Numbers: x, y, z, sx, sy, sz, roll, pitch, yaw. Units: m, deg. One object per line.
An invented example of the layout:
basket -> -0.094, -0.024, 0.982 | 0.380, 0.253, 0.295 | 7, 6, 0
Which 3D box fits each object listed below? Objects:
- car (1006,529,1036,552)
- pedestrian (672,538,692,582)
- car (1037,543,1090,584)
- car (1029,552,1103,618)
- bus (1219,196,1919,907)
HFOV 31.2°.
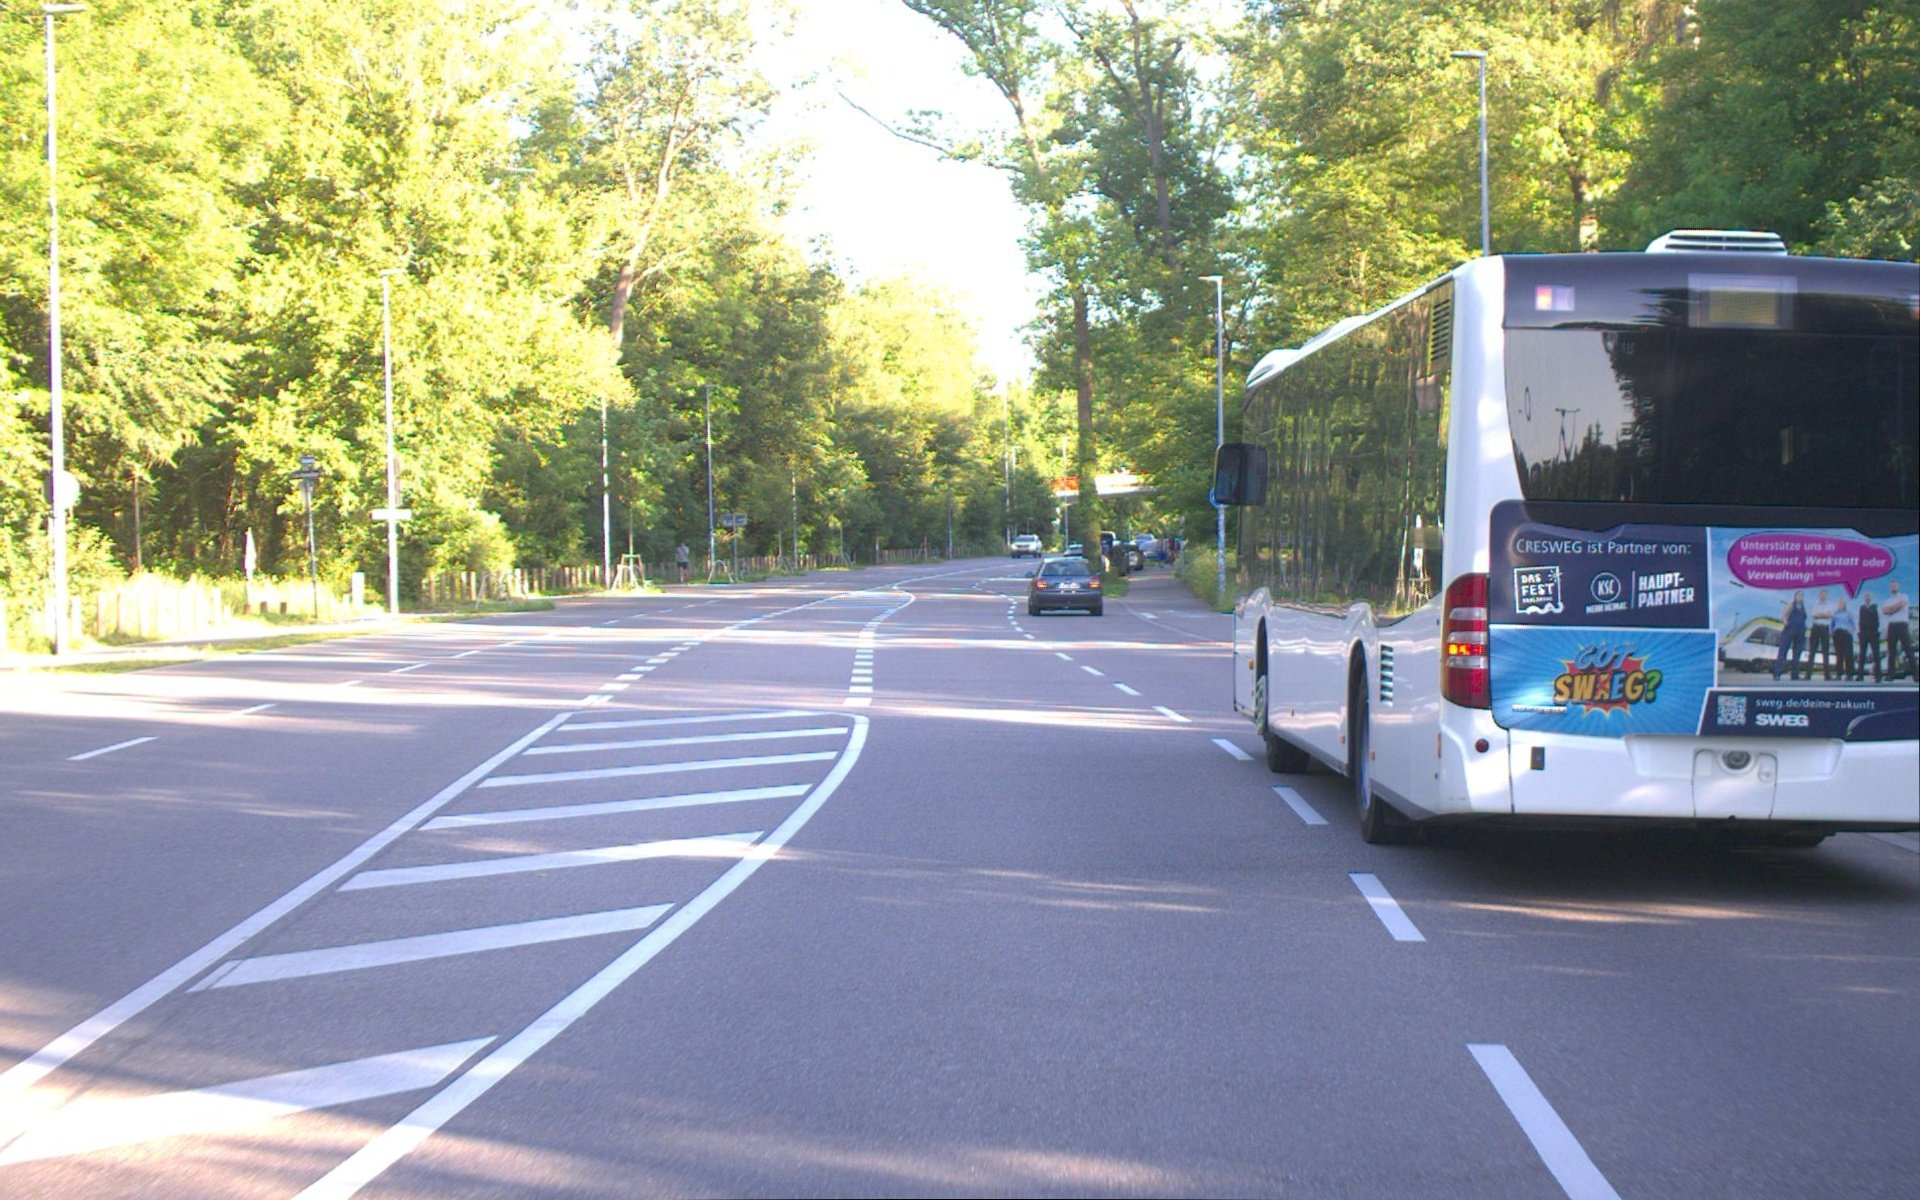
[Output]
car -> 4.353, -4.240, 245.115 | 1.863, 1.532, 4.131 | 1, 0, 4
pedestrian -> -11.576, -1.676, 143.126 | 0.779, 1.806, 0.770 | 0, 1, 0
car -> 4.303, -1.505, 142.304 | 1.632, 1.653, 4.130 | 1, 0, 9
car -> 2.592, -0.370, 83.592 | 1.632, 1.542, 4.131 | 1, 0, 4
bus -> 3.362, -0.256, 20.773 | 2.689, 3.032, 12.041 | 1, 0, 0
